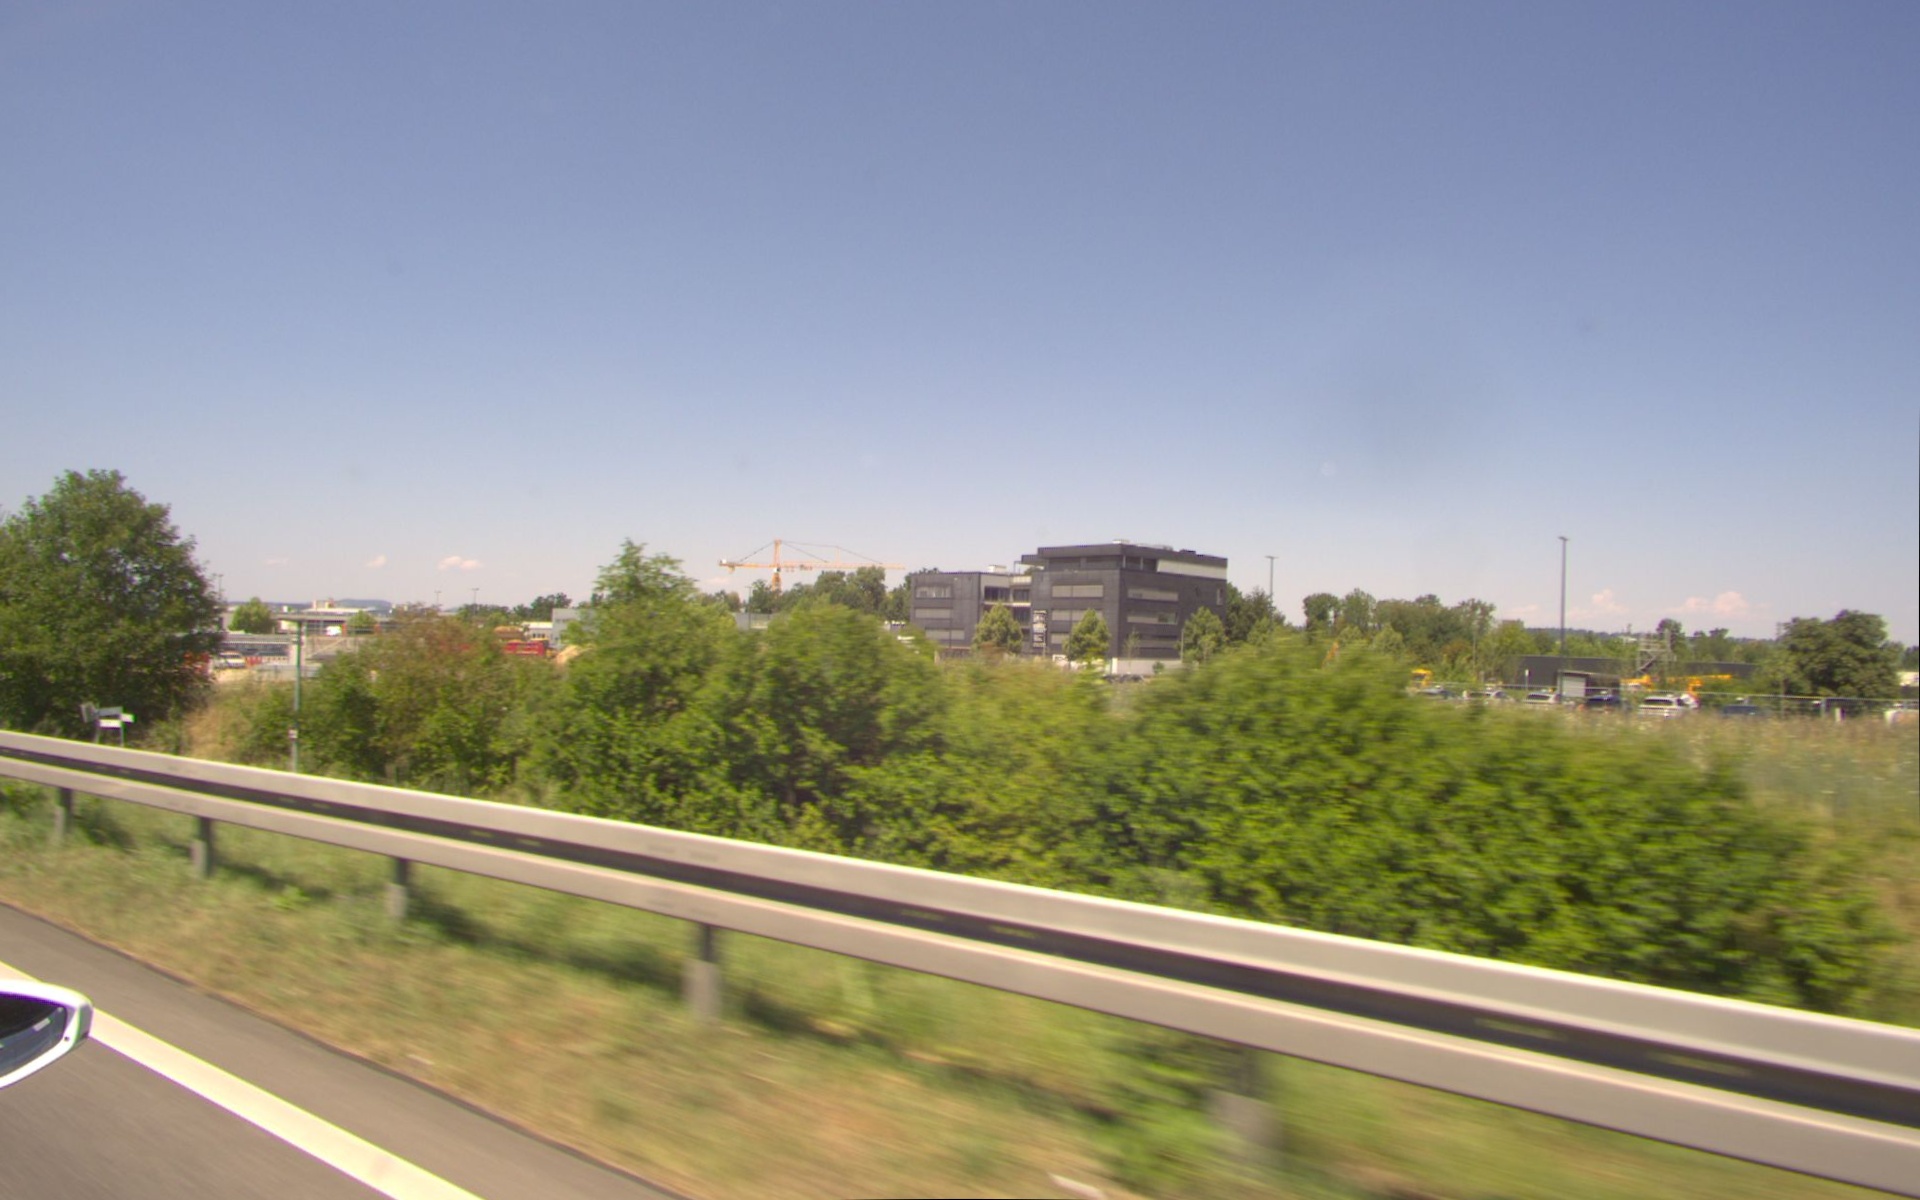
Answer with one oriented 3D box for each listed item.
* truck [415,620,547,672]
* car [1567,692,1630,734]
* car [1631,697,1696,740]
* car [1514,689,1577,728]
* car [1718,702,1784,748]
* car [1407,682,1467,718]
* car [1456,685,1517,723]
[{"bbox_3d":[-38.495,3.756,80.919,9.270,3.731,3.121,4,-2,-23],"label":"truck"},{"bbox_3d":[35.473,6.231,55.605,3.962,2.039,1.981,4,-2,-43],"label":"car"},{"bbox_3d":[37.421,6.242,53.242,3.962,2.039,1.981,4,-2,-43],"label":"car"},{"bbox_3d":[33.676,6.212,57.558,3.960,2.039,1.982,4,-2,-41],"label":"car"},{"bbox_3d":[39.965,6.271,50.560,3.962,2.039,1.981,4,-2,-43],"label":"car"},{"bbox_3d":[29.502,6.161,61.869,3.962,2.039,1.981,4,-2,-43],"label":"car"},{"bbox_3d":[31.443,6.182,59.782,3.962,2.039,1.981,4,-2,-43],"label":"car"}]
